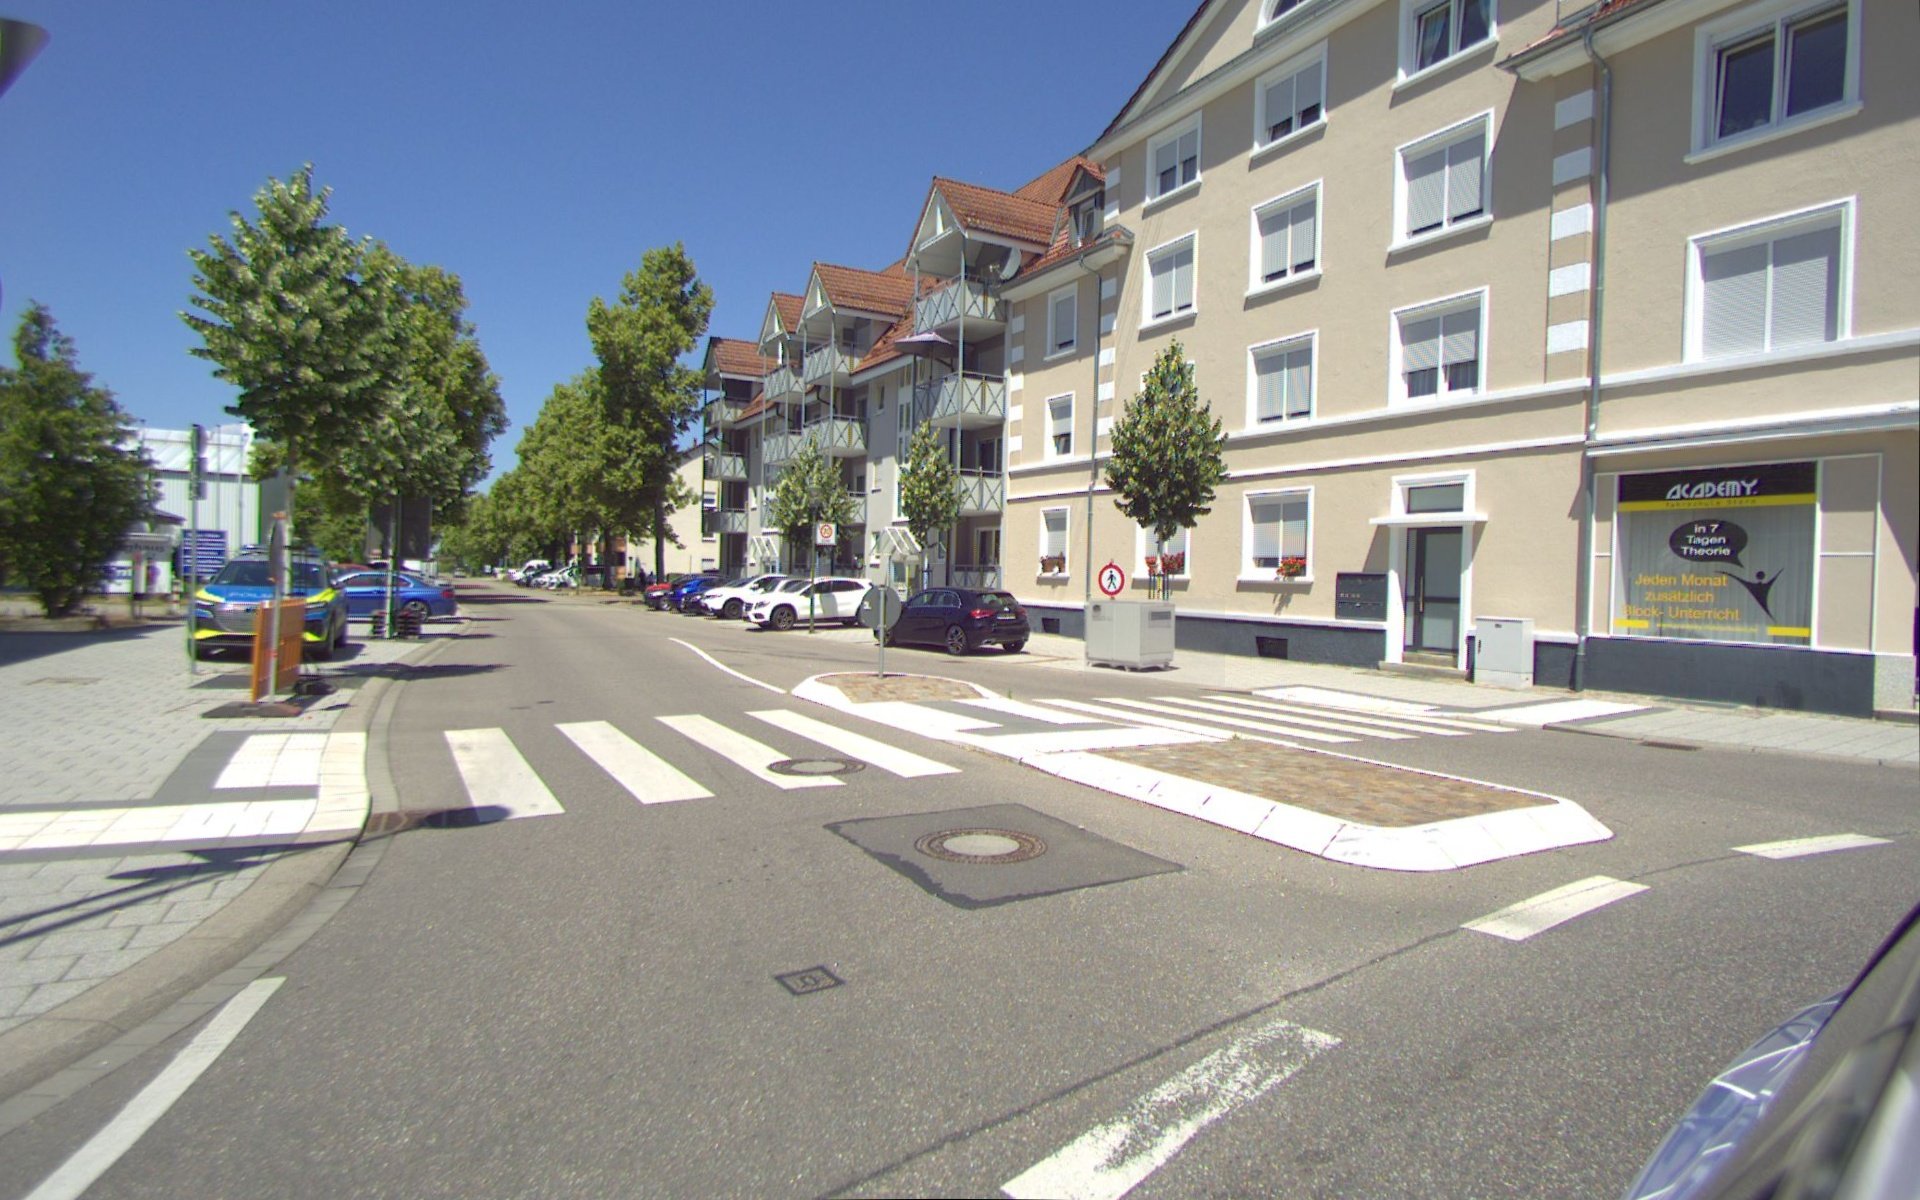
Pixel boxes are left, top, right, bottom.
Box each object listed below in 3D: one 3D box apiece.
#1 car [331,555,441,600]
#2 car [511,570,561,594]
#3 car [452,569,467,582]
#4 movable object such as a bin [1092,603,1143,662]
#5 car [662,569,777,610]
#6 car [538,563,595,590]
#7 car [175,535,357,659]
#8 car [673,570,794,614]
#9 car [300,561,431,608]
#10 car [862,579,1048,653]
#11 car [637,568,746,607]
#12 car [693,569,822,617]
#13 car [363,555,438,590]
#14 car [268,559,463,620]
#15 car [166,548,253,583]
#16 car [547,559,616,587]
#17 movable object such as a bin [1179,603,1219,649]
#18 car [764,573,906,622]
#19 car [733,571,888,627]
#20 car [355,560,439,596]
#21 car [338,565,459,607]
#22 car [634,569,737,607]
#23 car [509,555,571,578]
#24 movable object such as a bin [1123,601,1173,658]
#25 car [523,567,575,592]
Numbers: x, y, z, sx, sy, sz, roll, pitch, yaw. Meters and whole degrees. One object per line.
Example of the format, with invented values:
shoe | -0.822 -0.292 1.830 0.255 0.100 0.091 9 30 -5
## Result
car | -24.552 -0.961 43.431 3.917 1.805 2.004 1 1 -24
car | -38.507 -1.634 91.912 3.923 2.039 2.001 1 1 -34
car | -81.158 -3.980 164.025 1.960 2.039 4.004 1 1 -30
movable object such as a bin | 3.003 0.608 19.298 0.657 1.068 0.705 -2 2 -32
car | -9.813 -0.466 41.323 4.209 1.595 1.909 -1 2 -28
car | -31.375 -1.876 80.673 3.923 2.039 2.001 1 1 -34
car | -11.245 -0.072 16.701 1.867 1.765 4.256 2 0 -27
car | -8.742 -0.362 39.067 4.209 1.595 1.909 -1 2 -28
car | -21.028 -0.544 35.989 3.918 1.549 2.003 1 1 -28
car | -0.200 0.279 22.758 1.875 1.454 4.163 -2 3 -43
car | -11.530 -0.561 43.536 4.209 1.595 1.909 -1 2 -28
car | -7.320 -0.294 36.656 4.209 1.595 1.909 -1 2 -28
car | -33.665 -1.660 60.992 3.918 1.882 2.004 1 3 -28
car | -15.889 -0.223 27.234 4.381 1.499 1.907 1 -2 -31
car | -45.486 -2.076 61.431 3.917 1.883 2.003 2 -1 -27
car | -28.701 -2.022 76.751 4.648 2.039 2.002 0 1 -31
movable object such as a bin | 5.213 0.567 22.068 0.645 0.947 0.579 -1 2 -39
car | -4.094 -0.130 33.170 4.209 1.454 1.909 -1 2 -28
car | -4.468 -0.074 30.325 4.209 1.542 1.909 -1 2 -28
car | -31.010 -1.197 55.863 3.918 1.883 2.003 1 0 -28
car | -21.347 -0.526 38.620 3.918 1.465 2.003 1 1 -28
car | -12.584 -0.577 46.441 4.210 1.661 1.909 -1 2 -29
car | -40.453 -3.221 97.507 5.169 2.039 2.239 0 1 -31
movable object such as a bin | 3.668 0.565 19.751 0.630 1.068 0.705 0 1 -32
car | -35.865 -1.789 88.339 3.923 2.039 2.001 1 1 -34
